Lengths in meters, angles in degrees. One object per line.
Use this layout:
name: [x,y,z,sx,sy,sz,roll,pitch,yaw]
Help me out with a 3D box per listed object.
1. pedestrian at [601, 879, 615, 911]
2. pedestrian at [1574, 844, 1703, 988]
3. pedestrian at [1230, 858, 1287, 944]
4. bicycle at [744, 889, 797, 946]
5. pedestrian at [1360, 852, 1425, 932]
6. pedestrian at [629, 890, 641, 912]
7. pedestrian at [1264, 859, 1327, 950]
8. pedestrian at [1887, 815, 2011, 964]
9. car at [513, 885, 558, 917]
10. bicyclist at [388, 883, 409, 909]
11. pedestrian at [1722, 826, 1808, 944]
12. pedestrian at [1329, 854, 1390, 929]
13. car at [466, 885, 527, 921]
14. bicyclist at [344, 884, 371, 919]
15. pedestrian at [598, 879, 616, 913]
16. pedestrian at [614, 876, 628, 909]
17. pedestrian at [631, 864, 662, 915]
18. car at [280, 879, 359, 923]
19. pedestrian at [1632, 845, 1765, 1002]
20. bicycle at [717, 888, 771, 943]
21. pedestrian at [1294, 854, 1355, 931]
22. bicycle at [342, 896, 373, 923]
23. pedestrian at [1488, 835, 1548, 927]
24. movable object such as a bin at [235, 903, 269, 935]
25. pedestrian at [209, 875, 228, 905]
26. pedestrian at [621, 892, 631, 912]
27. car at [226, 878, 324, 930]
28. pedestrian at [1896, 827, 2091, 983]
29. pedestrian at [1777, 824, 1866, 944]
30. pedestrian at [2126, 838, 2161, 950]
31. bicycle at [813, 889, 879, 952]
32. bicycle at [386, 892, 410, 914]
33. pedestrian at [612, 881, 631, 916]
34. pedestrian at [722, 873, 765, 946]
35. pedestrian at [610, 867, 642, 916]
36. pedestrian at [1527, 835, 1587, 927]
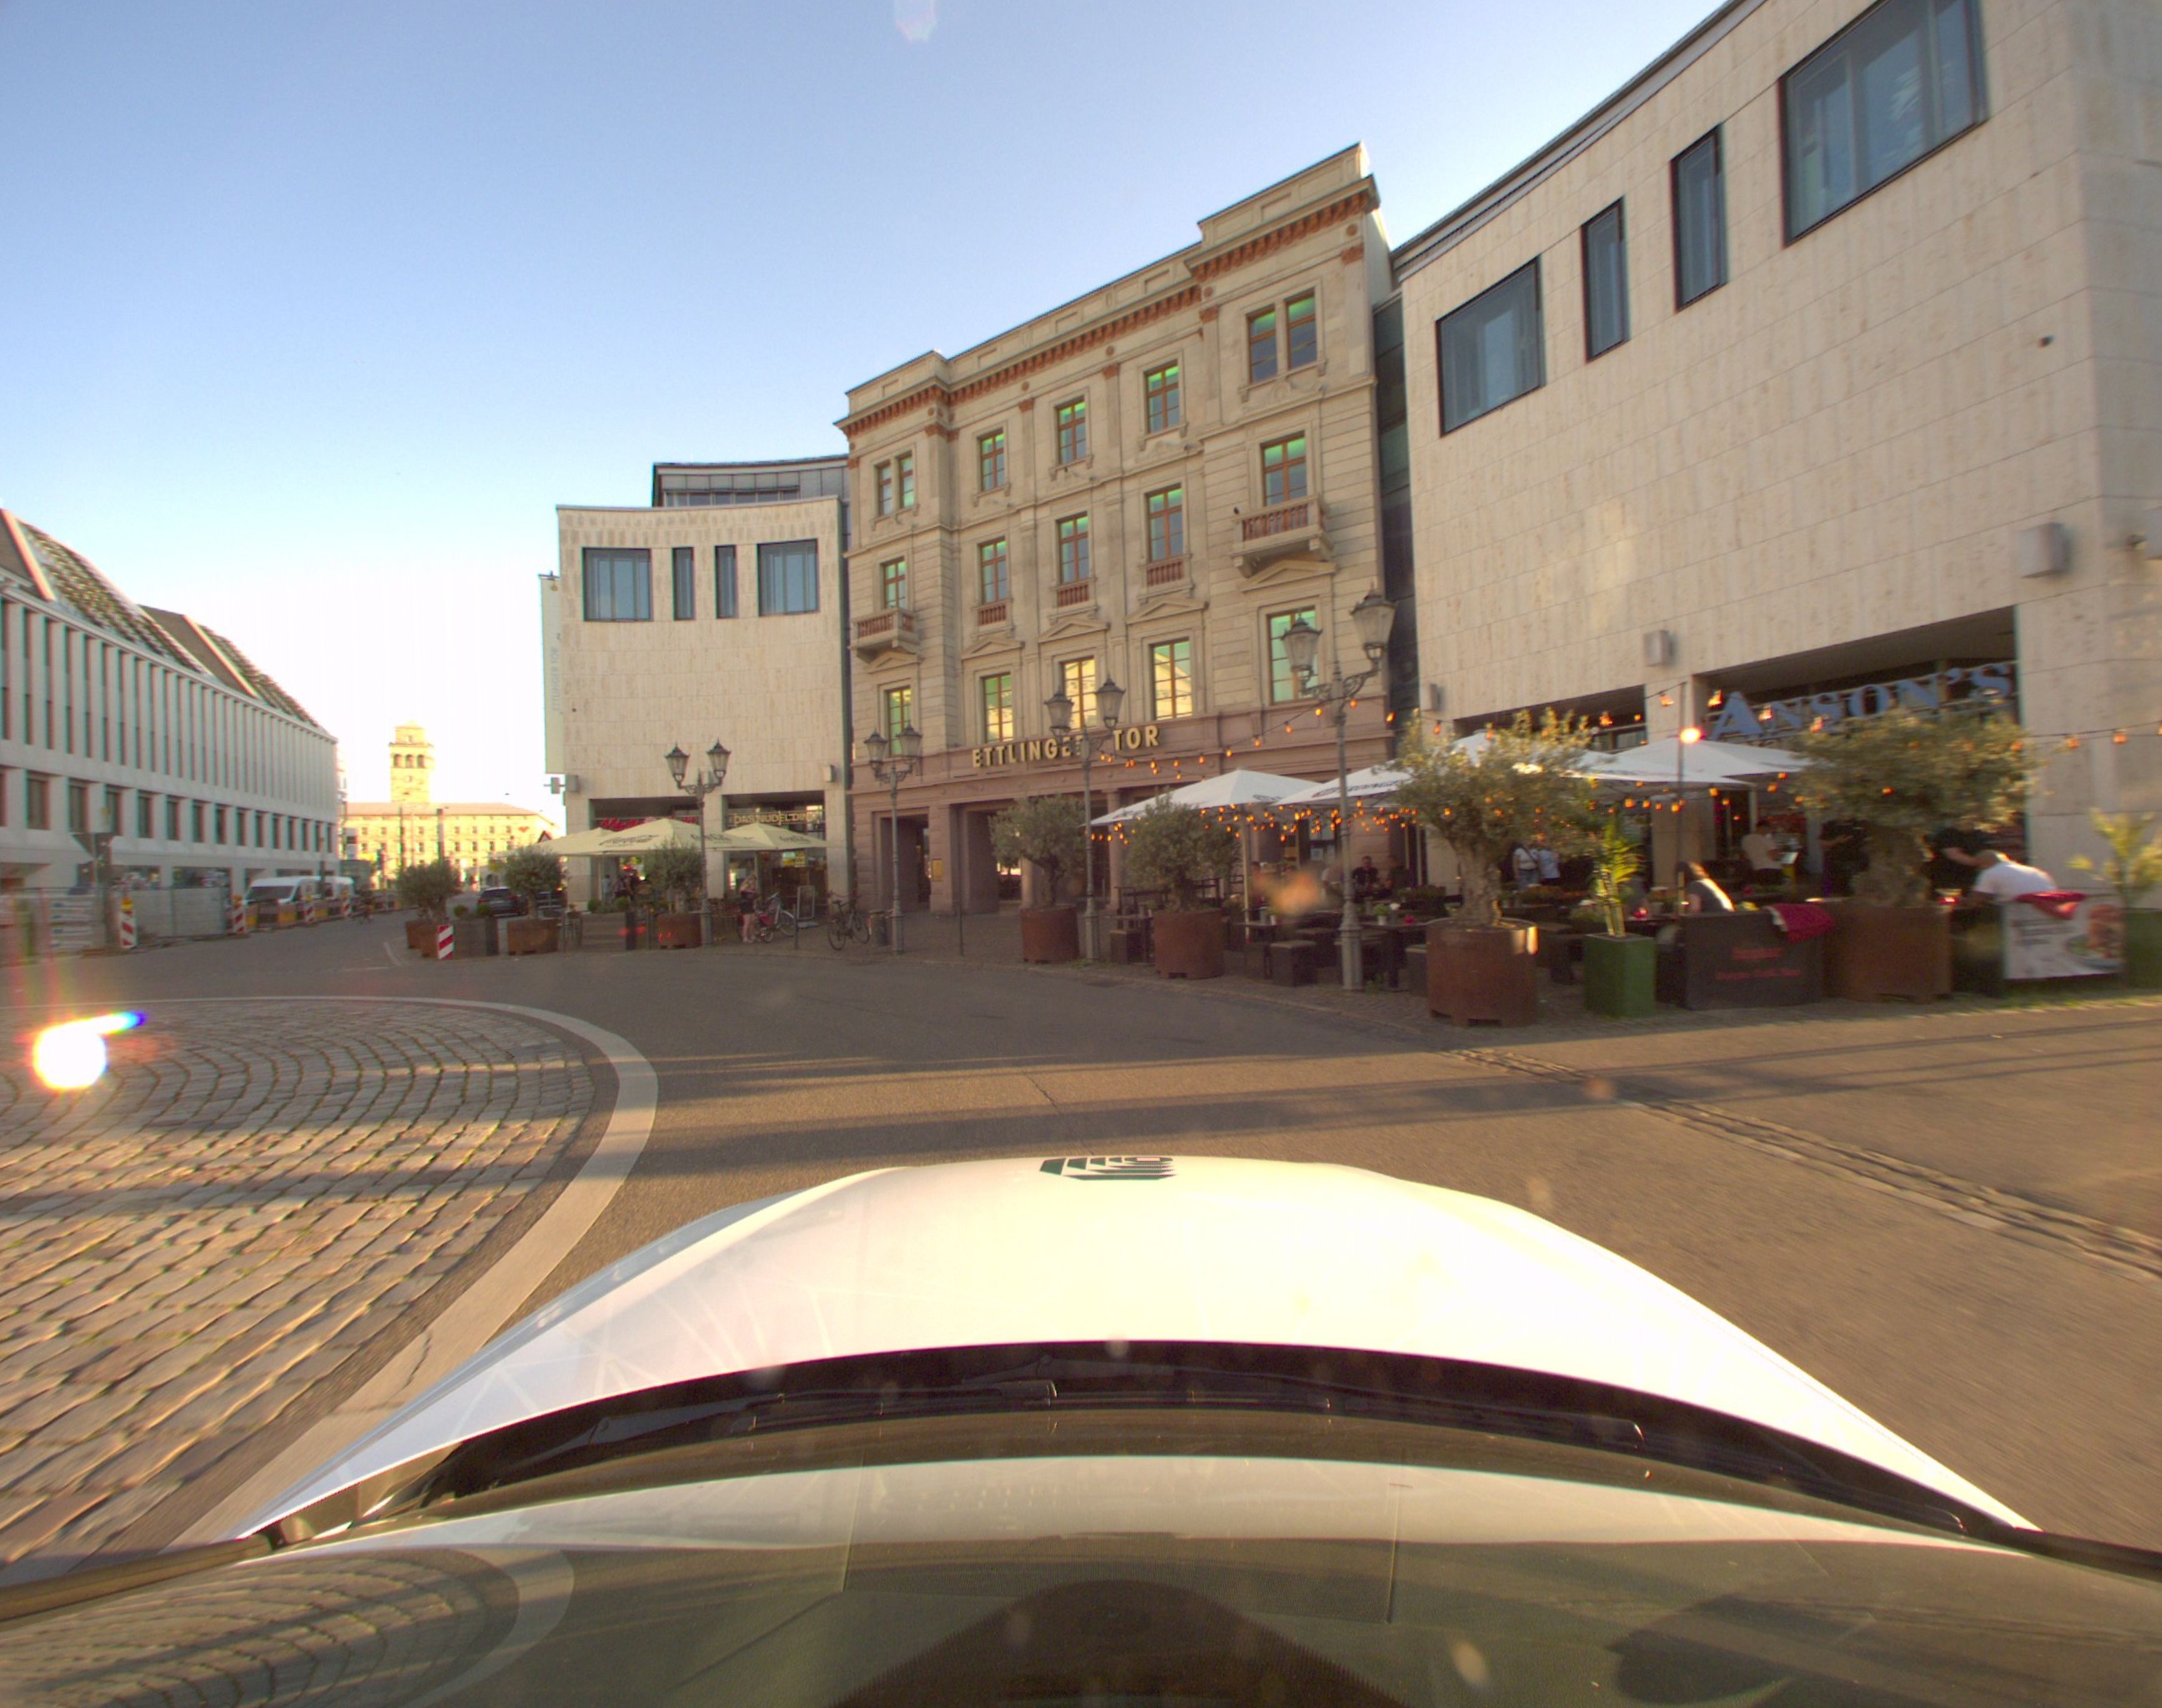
pedestrian: [-25.226,2.172,43.437,0.594,1.698,0.689,-2,-1,-32]
pedestrian: [5.995,0.637,8.809,0.720,1.447,0.864,-2,-1,-6]
pedestrian: [3.156,0.815,14.527,0.720,1.447,0.864,-2,-1,-6]
bicycle: [-7.235,1.447,19.049,0.604,1.128,1.903,-2,1,-4]
pedestrian: [5.948,0.707,15.584,0.773,1.447,0.848,-2,-1,-14]
pedestrian: [-23.281,2.427,42.494,0.490,1.097,0.596,-2,1,-30]
pedestrian: [3.583,0.830,13.642,0.720,1.447,0.864,-2,-1,-6]
pedestrian: [10.689,0.426,10.047,0.713,1.747,0.708,-2,-1,-7]
car: [-31.950,2.718,47.779,1.779,1.637,4.018,-5,1,-29]
bicyclist: [-41.327,2.554,49.305,0.802,1.532,0.964,-2,-1,-33]
pedestrian: [10.568,0.466,12.595,0.711,1.747,0.711,-2,-1,-24]
pedestrian: [5.638,0.744,16.518,0.773,1.447,0.848,-2,-1,-14]
car: [-28.551,2.364,39.913,1.806,1.490,4.153,-5,1,-29]
bicyclist: [-34.361,2.251,38.689,0.802,1.603,1.217,-1,-1,-34]
pedestrian: [-24.713,2.188,42.430,0.770,1.681,0.868,-2,1,-30]
pedestrian: [-25.105,2.086,44.457,0.638,1.774,0.767,-2,1,-30]
pedestrian: [-16.275,1.307,30.509,0.712,1.862,0.671,-2,-1,7]
car: [-46.582,2.808,49.992,2.187,2.470,5.941,-1,-1,-30]
pedestrian: [6.056,0.653,8.024,0.720,1.447,0.692,-2,-1,-6]
bicycle: [-8.077,1.450,19.585,0.604,1.128,1.903,-2,1,-4]
pedestrian: [4.830,0.750,16.183,0.774,1.447,0.848,-2,-1,-16]
bicycle: [-34.344,2.612,38.676,0.802,1.217,2.209,-1,-1,-34]
pedestrian: [8.877,0.543,16.576,0.722,1.802,0.984,-2,-1,7]
movable object such as a bin: [-40.788,3.191,40.085,1.052,1.466,1.377,-1,-2,-42]
pedestrian: [-46.079,1.919,43.490,0.546,1.577,0.573,-2,-1,-32]
pedestrian: [-23.931,2.515,42.789,0.422,0.986,0.521,-2,1,-30]
car: [-42.933,2.599,43.577,2.187,2.470,5.941,-1,-1,-29]
pedestrian: [9.226,0.488,8.269,0.970,1.447,0.941,-2,-1,-14]
pedestrian: [11.227,0.444,12.358,0.711,1.747,0.711,-2,-1,-24]
pedestrian: [13.575,0.480,9.953,0.660,1.376,0.690,-2,-1,2]
bicycle: [-4.979,1.386,17.389,0.602,1.128,1.910,-2,1,7]
bicycle: [-41.313,2.952,49.264,0.802,1.217,2.210,-2,-1,-33]
pedestrian: [-23.526,2.260,41.676,0.770,1.681,0.868,-2,1,-30]
pedestrian: [-7.703,1.241,18.596,0.748,1.589,0.711,-2,-1,-12]
pedestrian: [-16.563,1.367,29.682,0.712,1.745,0.670,-2,-1,6]
pedestrian: [9.635,0.543,16.519,0.723,1.802,0.852,-2,-1,7]
